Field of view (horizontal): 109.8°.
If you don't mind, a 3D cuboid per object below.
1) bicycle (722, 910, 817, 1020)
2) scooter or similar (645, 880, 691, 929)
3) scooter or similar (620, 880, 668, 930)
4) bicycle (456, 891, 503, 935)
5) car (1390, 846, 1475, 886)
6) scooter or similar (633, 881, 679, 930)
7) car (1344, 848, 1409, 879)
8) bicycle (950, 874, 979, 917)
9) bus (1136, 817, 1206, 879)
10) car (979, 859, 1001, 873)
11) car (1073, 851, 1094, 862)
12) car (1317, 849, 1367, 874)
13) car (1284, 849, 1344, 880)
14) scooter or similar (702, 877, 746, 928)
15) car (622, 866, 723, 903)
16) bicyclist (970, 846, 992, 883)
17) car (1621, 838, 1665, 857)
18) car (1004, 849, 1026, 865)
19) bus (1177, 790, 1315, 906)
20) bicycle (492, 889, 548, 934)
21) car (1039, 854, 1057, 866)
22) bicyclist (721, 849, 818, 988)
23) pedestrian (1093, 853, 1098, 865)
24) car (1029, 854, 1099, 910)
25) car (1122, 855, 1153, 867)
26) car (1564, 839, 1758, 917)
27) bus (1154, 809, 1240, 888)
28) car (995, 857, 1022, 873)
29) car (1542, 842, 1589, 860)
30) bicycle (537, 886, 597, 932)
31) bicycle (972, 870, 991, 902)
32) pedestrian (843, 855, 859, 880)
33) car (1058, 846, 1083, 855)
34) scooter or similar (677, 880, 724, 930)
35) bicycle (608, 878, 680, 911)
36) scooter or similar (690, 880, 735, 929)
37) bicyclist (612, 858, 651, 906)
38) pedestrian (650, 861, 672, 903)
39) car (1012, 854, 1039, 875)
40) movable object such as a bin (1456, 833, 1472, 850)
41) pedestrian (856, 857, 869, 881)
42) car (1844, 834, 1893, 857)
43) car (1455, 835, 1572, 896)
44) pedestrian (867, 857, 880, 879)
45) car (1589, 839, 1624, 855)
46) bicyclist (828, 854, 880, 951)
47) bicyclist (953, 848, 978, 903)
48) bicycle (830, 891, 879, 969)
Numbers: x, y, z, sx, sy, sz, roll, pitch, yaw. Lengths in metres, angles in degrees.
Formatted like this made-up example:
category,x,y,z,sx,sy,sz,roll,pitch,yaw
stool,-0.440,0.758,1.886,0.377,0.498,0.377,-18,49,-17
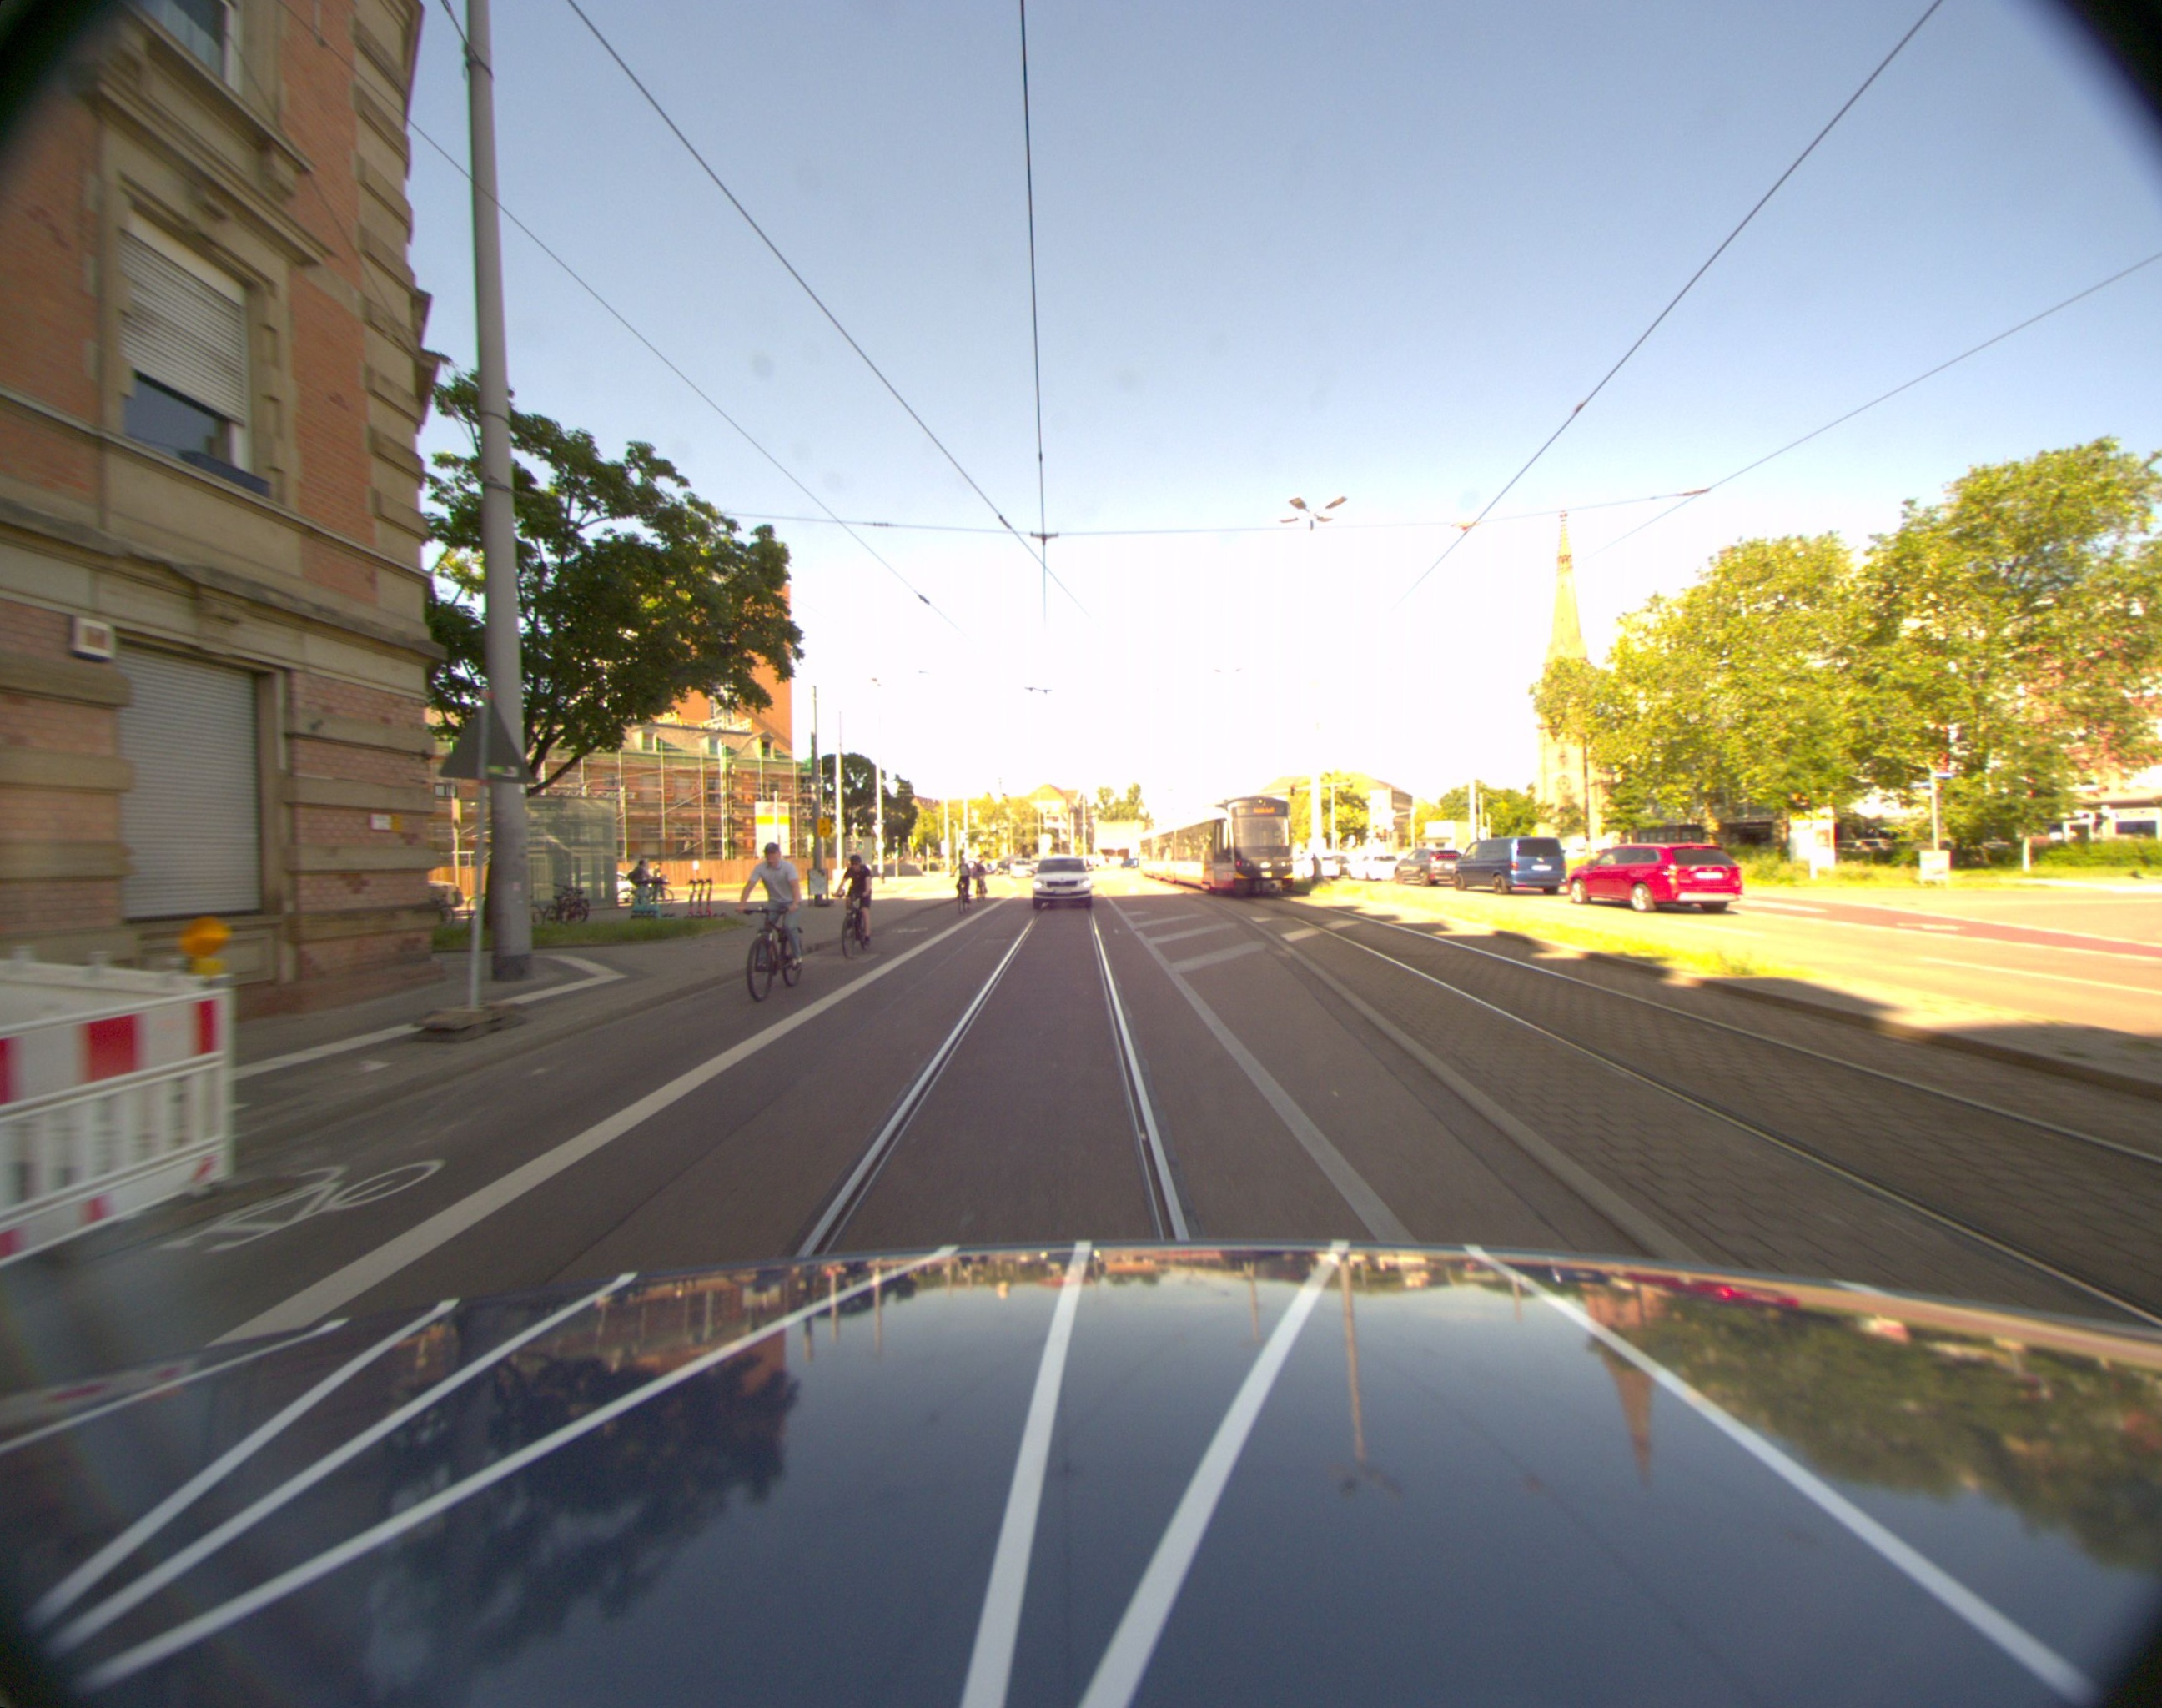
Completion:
category,x,y,z,sx,sy,sz,roll,pitch,yaw
bicycle,-3.707,1.270,9.192,0.387,1.062,1.934,-2,-1,-2
scooter or similar,-11.036,1.329,20.349,0.271,1.178,1.564,-3,1,1
scooter or similar,-11.686,1.349,20.348,0.271,1.189,1.564,-3,1,1
bicycle,-15.921,1.548,20.142,0.404,1.055,1.350,-4,1,-15
car,15.111,0.458,32.905,1.807,1.569,4.164,-1,1,1
scooter or similar,-11.353,1.346,20.340,0.271,1.178,1.564,-3,1,1
car,15.377,0.463,39.784,1.807,1.424,3.999,-3,1,1
bicycle,-3.476,1.223,22.816,0.533,1.111,1.933,-3,1,-1
bus,5.820,-0.398,51.719,2.848,3.568,13.493,-2,0,-1
car,-11.274,1.453,93.876,1.888,1.557,4.006,-4,1,-17
car,0.371,0.325,112.745,2.045,1.568,4.624,-2,1,-13
car,15.498,0.413,45.268,1.654,1.470,3.970,0,0,1
car,12.425,0.520,40.735,1.807,1.424,4.540,-3,1,1
scooter or similar,-9.426,1.249,20.113,0.271,1.212,1.703,-3,1,1
car,-21.120,1.541,39.361,4.259,1.612,1.913,-3,2,-38
bicyclist,-3.944,0.395,30.005,0.675,1.413,1.036,-3,1,-2
car,49.636,-0.581,67.097,4.006,1.490,1.739,-2,0,-31
car,-12.381,0.564,142.329,2.246,2.665,5.296,-4,1,-24
bus,5.930,-0.211,29.673,2.848,3.569,11.269,-2,0,0
bicycle,-14.814,1.503,20.099,0.404,1.055,1.352,-3,1,1
car,-4.490,0.789,103.926,1.687,1.523,3.910,-3,1,-13
bicyclist,-3.731,0.742,9.175,0.784,1.584,0.885,-2,1,-2
pedestrian,1.865,0.644,97.520,0.372,1.547,0.644,-3,1,-6
car,-0.454,0.841,24.947,1.868,1.635,4.398,-2,0,4
car,6.930,0.845,93.757,1.915,1.449,4.591,-2,1,-21
car,14.251,0.494,19.059,1.803,1.709,4.417,-1,1,5
bus,5.894,-0.296,40.646,2.848,3.569,10.724,-2,0,0
car,-7.604,1.132,79.511,1.888,1.557,4.006,-4,1,-17
car,53.906,-0.377,84.594,3.992,1.742,2.002,-3,1,19
bicycle,-13.622,1.441,20.174,0.404,1.055,1.483,-3,1,5
bicycle,-3.894,1.240,29.852,0.533,1.152,1.865,-2,0,-2
pedestrian,-18.139,1.048,59.957,0.933,1.918,1.048,-3,1,-4
car,-2.531,-0.869,177.408,5.245,1.793,2.404,-4,1,-34
scooter or similar,-10.023,1.322,20.060,0.271,1.156,1.703,-3,1,1
bicycle,-15.859,1.448,27.612,2.199,1.052,0.487,-2,1,-40
scooter or similar,-9.719,1.300,20.083,0.271,1.150,1.703,-3,1,1
bicyclist,-16.198,1.001,27.400,1.048,1.651,0.453,-4,2,-40
pedestrian,-19.051,1.262,34.430,0.651,1.838,0.545,-4,2,-42
car,-4.681,0.851,63.587,1.887,1.621,4.009,-3,1,-7
movable object such as a bin,36.610,-1.198,72.647,0.993,1.625,0.935,-4,2,-34
pedestrian,-16.780,1.141,58.369,0.661,1.747,0.823,-3,1,-4
car,56.511,-0.633,54.511,4.007,1.490,1.995,-2,0,-38
car,14.777,0.330,26.269,1.807,1.922,4.165,-1,1,2
pedestrian,-16.177,1.082,59.239,0.661,1.667,0.823,-3,1,-4
car,63.549,-0.820,91.883,4.005,1.656,1.995,-4,1,-30
bicyclist,-3.970,0.814,13.374,0.625,1.604,0.980,-3,1,-7
bicyclist,-3.517,0.638,23.224,0.551,1.604,0.953,-3,1,-1
bicycle,-3.906,1.267,13.206,0.533,1.111,1.931,-2,1,-10
